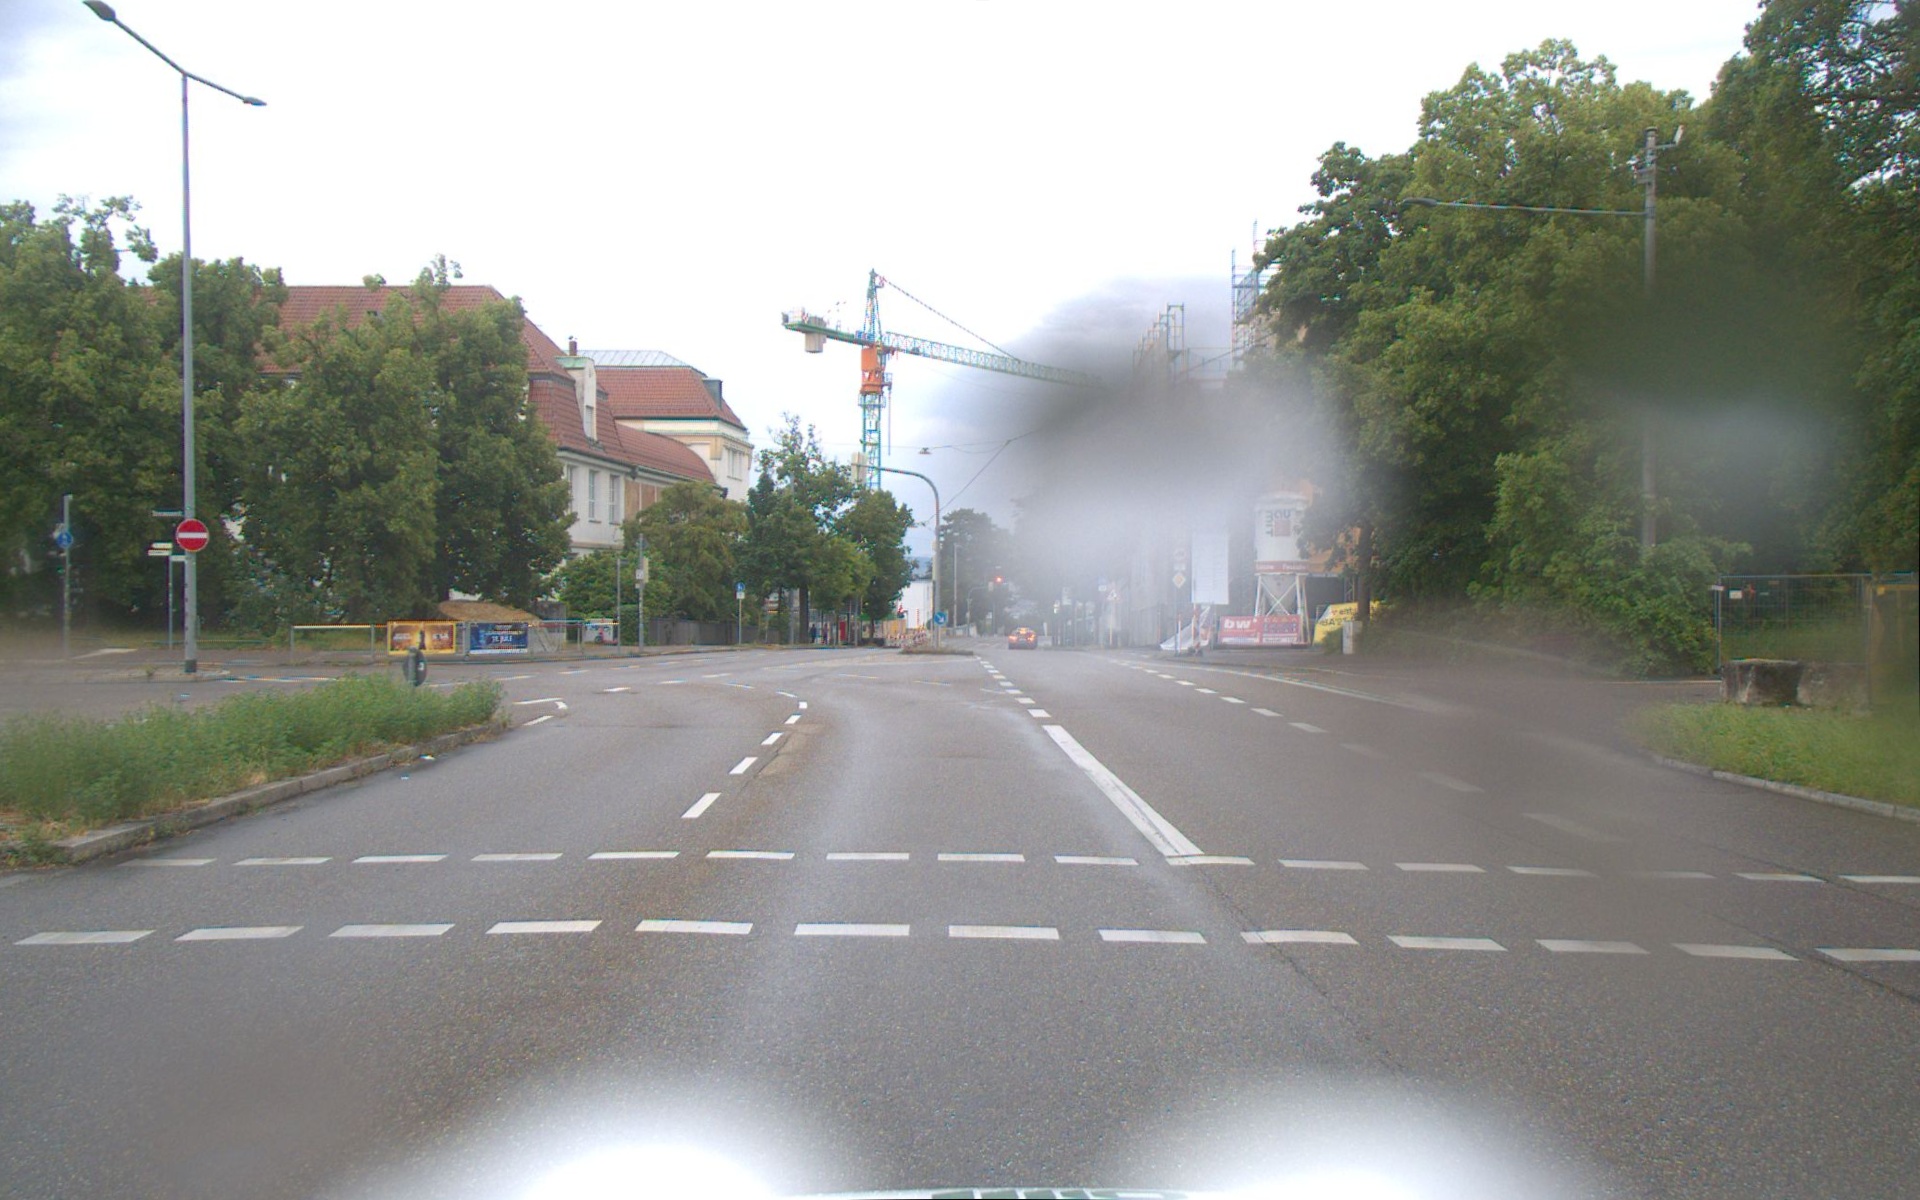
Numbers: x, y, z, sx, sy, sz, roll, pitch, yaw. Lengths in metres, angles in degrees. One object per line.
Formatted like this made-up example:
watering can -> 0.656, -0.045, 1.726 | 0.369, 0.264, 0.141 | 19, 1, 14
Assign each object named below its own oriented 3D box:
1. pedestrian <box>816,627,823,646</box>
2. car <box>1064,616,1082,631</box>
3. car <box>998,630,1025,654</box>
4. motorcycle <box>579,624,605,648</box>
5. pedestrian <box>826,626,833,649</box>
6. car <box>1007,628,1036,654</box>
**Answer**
pedestrian -> -10.373, 2.685, 121.897 | 0.465, 1.421, 0.411 | 0, 0, -1
car -> 15.043, 3.110, 219.494 | 1.951, 1.780, 4.003 | -1, 0, 10
car -> 4.068, 3.317, 130.854 | 1.953, 1.780, 3.999 | -1, 0, -1
motorcycle -> -14.307, 1.397, 64.290 | 0.832, 0.893, 0.877 | 1, 0, -1
pedestrian -> -9.626, 2.791, 122.025 | 0.484, 1.674, 0.533 | 1, -1, -7
car -> 4.618, 3.087, 124.961 | 1.953, 1.780, 3.999 | -1, 0, -1
